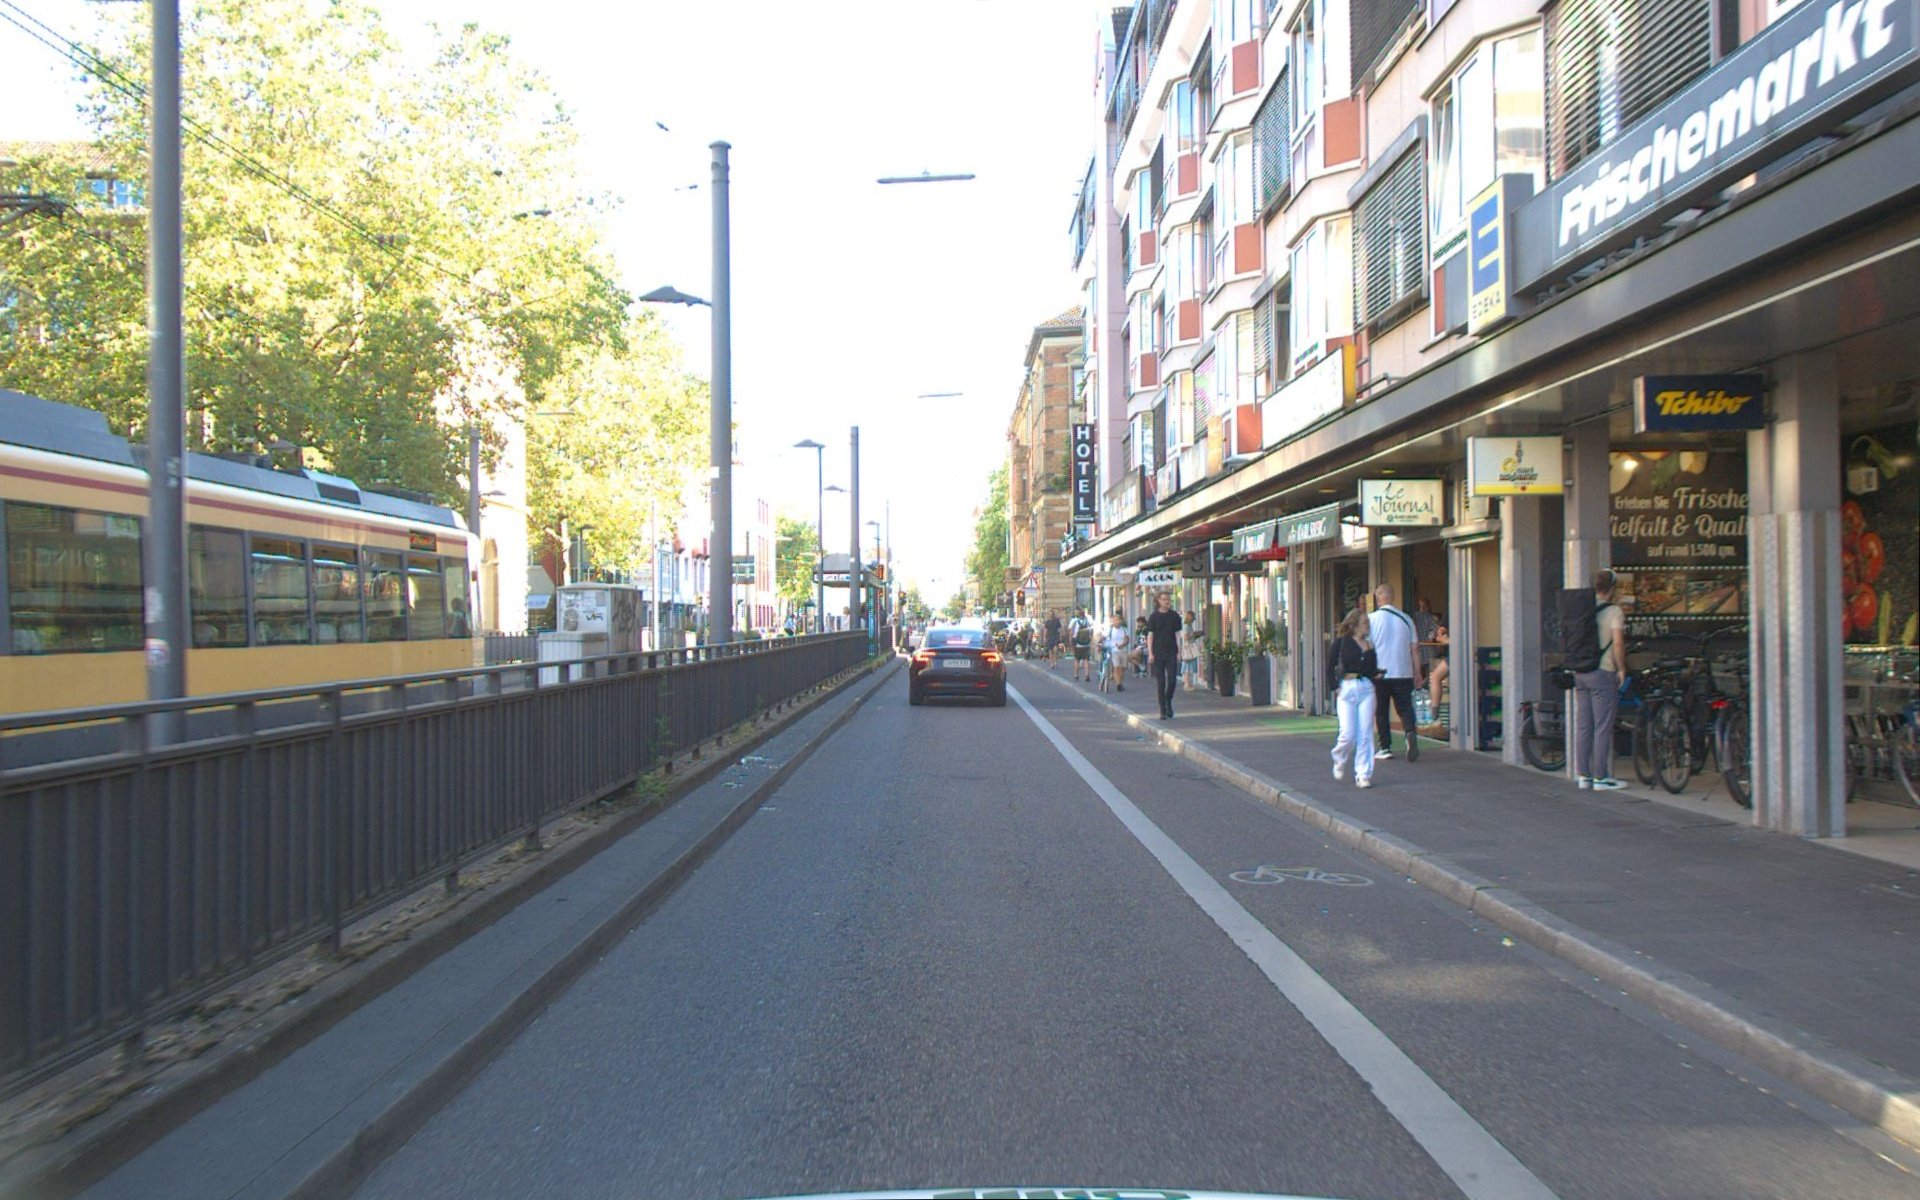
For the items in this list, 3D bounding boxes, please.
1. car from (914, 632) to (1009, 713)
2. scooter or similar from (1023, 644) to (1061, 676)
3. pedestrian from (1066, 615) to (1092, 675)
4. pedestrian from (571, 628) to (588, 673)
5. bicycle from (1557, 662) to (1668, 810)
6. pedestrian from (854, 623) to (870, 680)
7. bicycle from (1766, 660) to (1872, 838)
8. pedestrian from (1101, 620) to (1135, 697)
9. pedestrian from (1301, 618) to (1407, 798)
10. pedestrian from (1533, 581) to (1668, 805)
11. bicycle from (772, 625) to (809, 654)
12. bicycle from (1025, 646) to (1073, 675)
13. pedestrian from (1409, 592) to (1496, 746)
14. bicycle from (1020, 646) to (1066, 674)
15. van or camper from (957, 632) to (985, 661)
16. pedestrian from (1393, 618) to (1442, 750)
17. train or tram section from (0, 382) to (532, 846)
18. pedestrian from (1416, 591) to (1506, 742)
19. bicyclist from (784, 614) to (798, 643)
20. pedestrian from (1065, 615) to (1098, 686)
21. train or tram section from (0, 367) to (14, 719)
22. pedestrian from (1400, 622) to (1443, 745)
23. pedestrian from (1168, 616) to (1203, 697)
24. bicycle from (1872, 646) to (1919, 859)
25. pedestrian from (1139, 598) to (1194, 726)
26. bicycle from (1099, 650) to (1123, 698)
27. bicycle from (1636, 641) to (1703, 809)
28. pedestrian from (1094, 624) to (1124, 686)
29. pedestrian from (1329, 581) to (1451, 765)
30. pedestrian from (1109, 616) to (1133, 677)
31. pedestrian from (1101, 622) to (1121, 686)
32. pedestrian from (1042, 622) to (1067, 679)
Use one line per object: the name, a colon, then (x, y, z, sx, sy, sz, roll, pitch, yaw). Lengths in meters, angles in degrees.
car: (-0.012, 1.343, 31.548, 1.685, 1.430, 3.708, 1, -1, -2)
scooter or similar: (3.271, 2.400, 66.210, 1.448, 1.251, 0.591, -2, -2, -1)
pedestrian: (3.786, 1.432, 52.593, 0.691, 1.852, 0.763, -3, -2, -1)
pedestrian: (-17.143, 2.269, 74.608, 0.688, 2.049, 0.687, 1, -2, -10)
bicycle: (5.898, 1.201, 14.928, 1.375, 1.258, 0.403, 2, -2, -44)
pedestrian: (-2.777, 1.452, 46.812, 0.415, 1.601, 0.447, 0, -2, -1)
bicycle: (6.776, 1.123, 13.115, 0.563, 1.276, 2.115, 1, -2, 23)
pedestrian: (3.436, 1.266, 36.023, 0.649, 1.659, 0.705, 0, -1, -2)
pedestrian: (3.550, 0.953, 14.938, 0.652, 1.547, 0.788, -2, -1, -5)
pedestrian: (5.246, 0.743, 13.568, 0.774, 1.751, 0.588, -2, -1, -19)
bicycle: (-9.284, 2.170, 90.730, 1.917, 1.543, 0.632, 1, -2, -16)
bicycle: (3.604, 2.435, 66.870, 1.906, 1.126, 0.564, -1, -1, -3)
pedestrian: (5.482, 0.761, 18.444, 0.711, 1.665, 0.639, -2, -1, 0)
bicycle: (3.486, 2.524, 69.543, 1.906, 1.126, 0.564, -1, -1, -3)
van or camper: (0.779, 3.482, 122.540, 1.892, 2.073, 5.473, 1, -2, -1)
pedestrian: (5.866, 1.067, 21.207, 0.505, 1.661, 0.522, 0, -1, 4)
train or tram section: (-9.140, 0.178, 21.380, 2.913, 3.708, 16.482, 1, -1, 0)
pedestrian: (5.861, 0.775, 19.386, 0.757, 1.704, 0.695, -2, -1, -2)
bicyclist: (-9.265, 1.572, 90.749, 0.668, 1.543, 0.632, 1, -2, -16)
pedestrian: (3.073, 1.274, 41.858, 0.729, 1.757, 0.814, 1, -2, 0)
train or tram section: (-9.012, -0.170, 6.152, 2.913, 3.709, 13.940, 1, -1, 0)
pedestrian: (6.171, 1.112, 22.123, 0.446, 1.632, 0.464, 0, -1, 2)
pedestrian: (4.559, 1.144, 33.425, 0.588, 1.618, 0.553, -1, -1, -1)
bicycle: (6.338, 0.931, 10.683, 0.544, 1.258, 2.083, -1, -2, 23)
pedestrian: (3.149, 0.937, 25.300, 0.661, 1.894, 0.992, -2, -1, 1)
bicycle: (3.283, 1.596, 36.012, 0.296, 1.007, 1.759, 0, -1, -1)
bicycle: (5.838, 0.978, 13.633, 0.460, 1.273, 2.083, -1, -2, 23)
pedestrian: (3.784, 1.390, 41.928, 0.623, 1.509, 0.654, -3, -2, -2)
pedestrian: (4.471, 0.750, 17.265, 0.888, 1.806, 1.050, -3, -1, -1)
pedestrian: (4.779, 1.382, 49.162, 0.616, 1.800, 0.500, -1, -1, 0)
pedestrian: (4.492, 1.596, 49.090, 0.442, 1.882, 0.811, -1, -1, -3)
pedestrian: (2.993, 1.586, 52.348, 0.654, 1.759, 0.810, -3, -2, -1)
